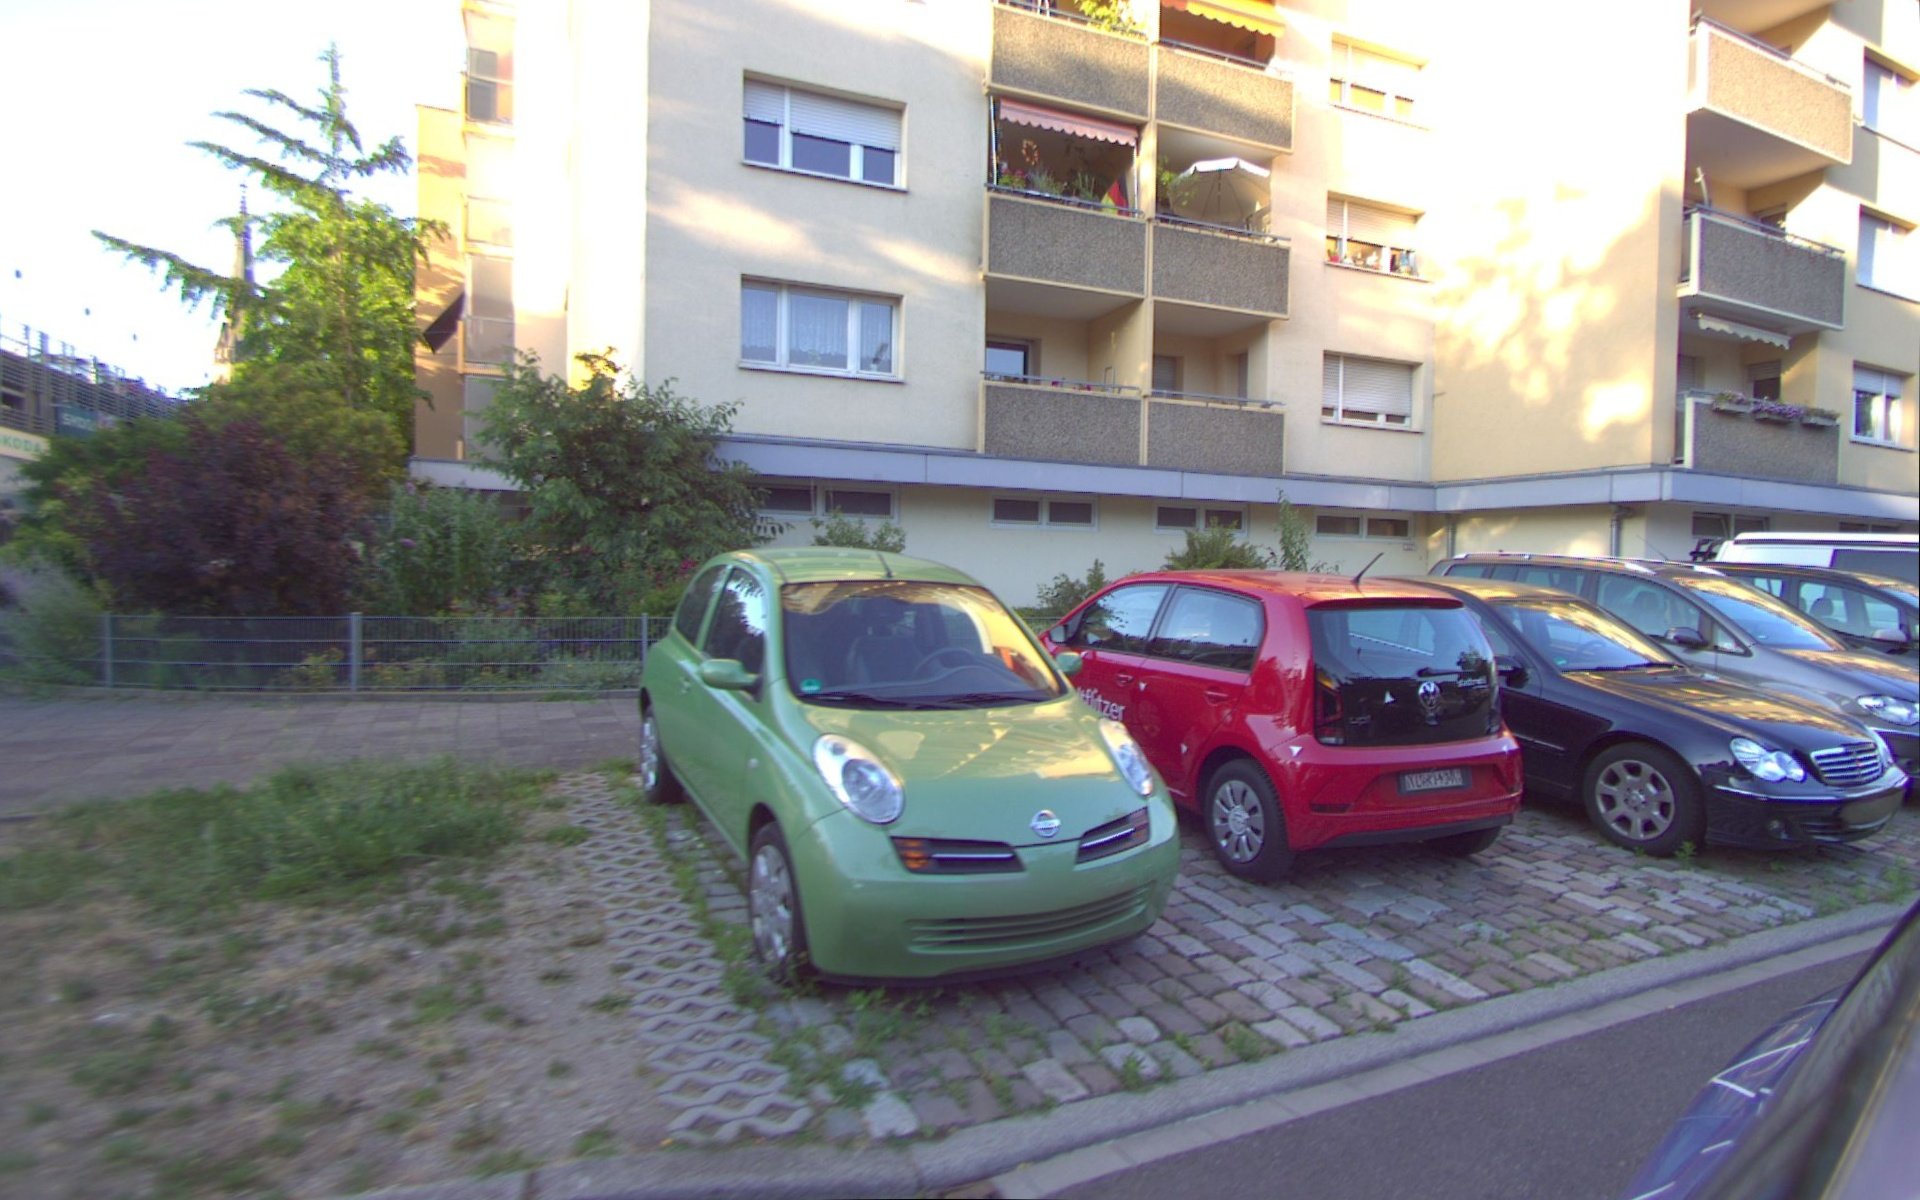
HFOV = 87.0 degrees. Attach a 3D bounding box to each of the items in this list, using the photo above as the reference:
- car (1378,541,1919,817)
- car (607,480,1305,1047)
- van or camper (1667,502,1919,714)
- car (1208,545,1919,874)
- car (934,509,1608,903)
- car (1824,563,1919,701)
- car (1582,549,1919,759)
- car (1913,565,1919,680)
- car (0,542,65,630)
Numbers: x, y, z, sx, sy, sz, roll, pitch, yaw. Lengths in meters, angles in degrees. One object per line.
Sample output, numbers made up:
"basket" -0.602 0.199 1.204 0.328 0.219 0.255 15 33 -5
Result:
"car" 6.130 0.391 8.833 1.808 1.680 4.428 -2 5 -28
"car" -0.552 0.336 5.299 1.808 1.651 4.426 -2 4 -28
"van or camper" 11.005 0.107 10.842 1.999 2.193 5.162 0 5 -27
"car" 3.984 0.408 7.264 1.808 1.549 4.426 -2 4 -28
"car" 1.512 0.299 6.801 1.807 1.650 4.431 1 6 -23
"car" 13.130 0.452 11.668 1.808 1.651 4.427 -2 4 -26
"car" 8.639 0.435 9.580 1.745 1.680 4.349 -2 5 -28
"car" 15.330 0.414 12.771 1.808 1.612 4.427 -2 4 -26
"car" -18.071 -0.271 18.151 1.785 1.548 3.860 1 3 -21
